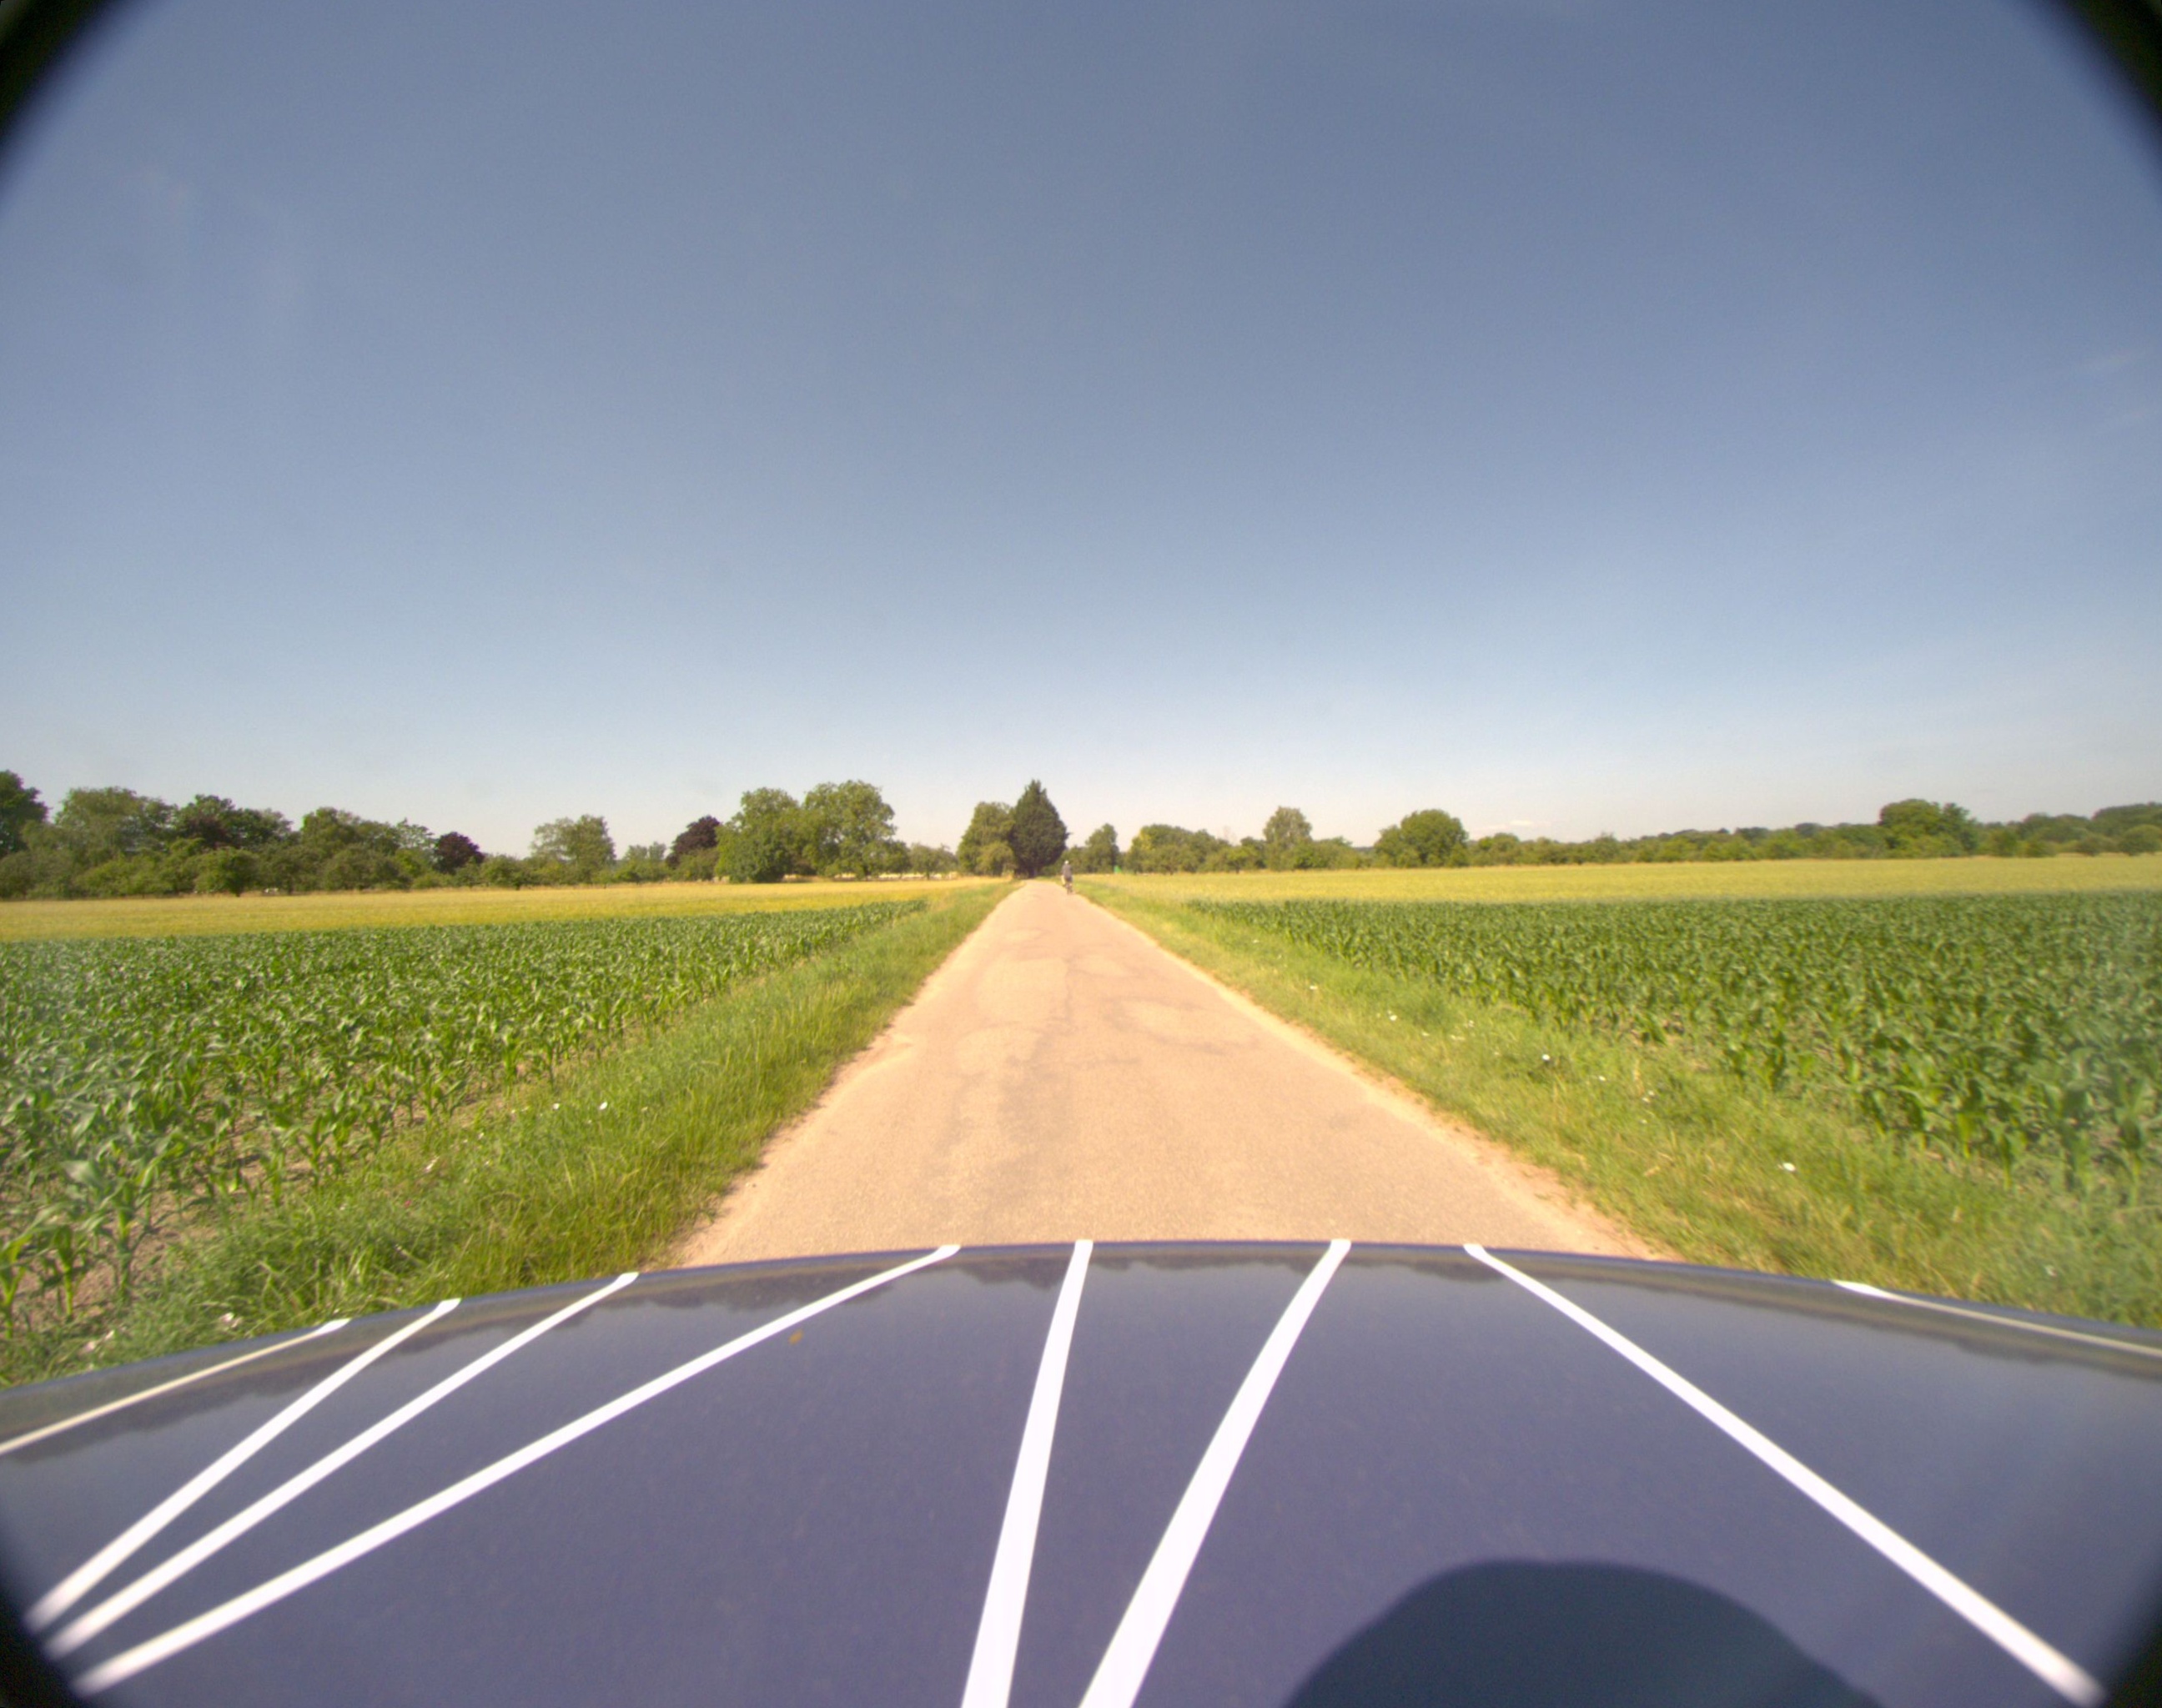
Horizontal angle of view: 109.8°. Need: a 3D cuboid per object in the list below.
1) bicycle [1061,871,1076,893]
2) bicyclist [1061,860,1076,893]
[{"bbox_3d":[-0.689,1.536,41.488,0.752,1.121,1.908,1,0,1],"label":"bicycle"},{"bbox_3d":[-0.689,1.206,41.519,0.752,1.781,0.717,1,0,1],"label":"bicyclist"}]
